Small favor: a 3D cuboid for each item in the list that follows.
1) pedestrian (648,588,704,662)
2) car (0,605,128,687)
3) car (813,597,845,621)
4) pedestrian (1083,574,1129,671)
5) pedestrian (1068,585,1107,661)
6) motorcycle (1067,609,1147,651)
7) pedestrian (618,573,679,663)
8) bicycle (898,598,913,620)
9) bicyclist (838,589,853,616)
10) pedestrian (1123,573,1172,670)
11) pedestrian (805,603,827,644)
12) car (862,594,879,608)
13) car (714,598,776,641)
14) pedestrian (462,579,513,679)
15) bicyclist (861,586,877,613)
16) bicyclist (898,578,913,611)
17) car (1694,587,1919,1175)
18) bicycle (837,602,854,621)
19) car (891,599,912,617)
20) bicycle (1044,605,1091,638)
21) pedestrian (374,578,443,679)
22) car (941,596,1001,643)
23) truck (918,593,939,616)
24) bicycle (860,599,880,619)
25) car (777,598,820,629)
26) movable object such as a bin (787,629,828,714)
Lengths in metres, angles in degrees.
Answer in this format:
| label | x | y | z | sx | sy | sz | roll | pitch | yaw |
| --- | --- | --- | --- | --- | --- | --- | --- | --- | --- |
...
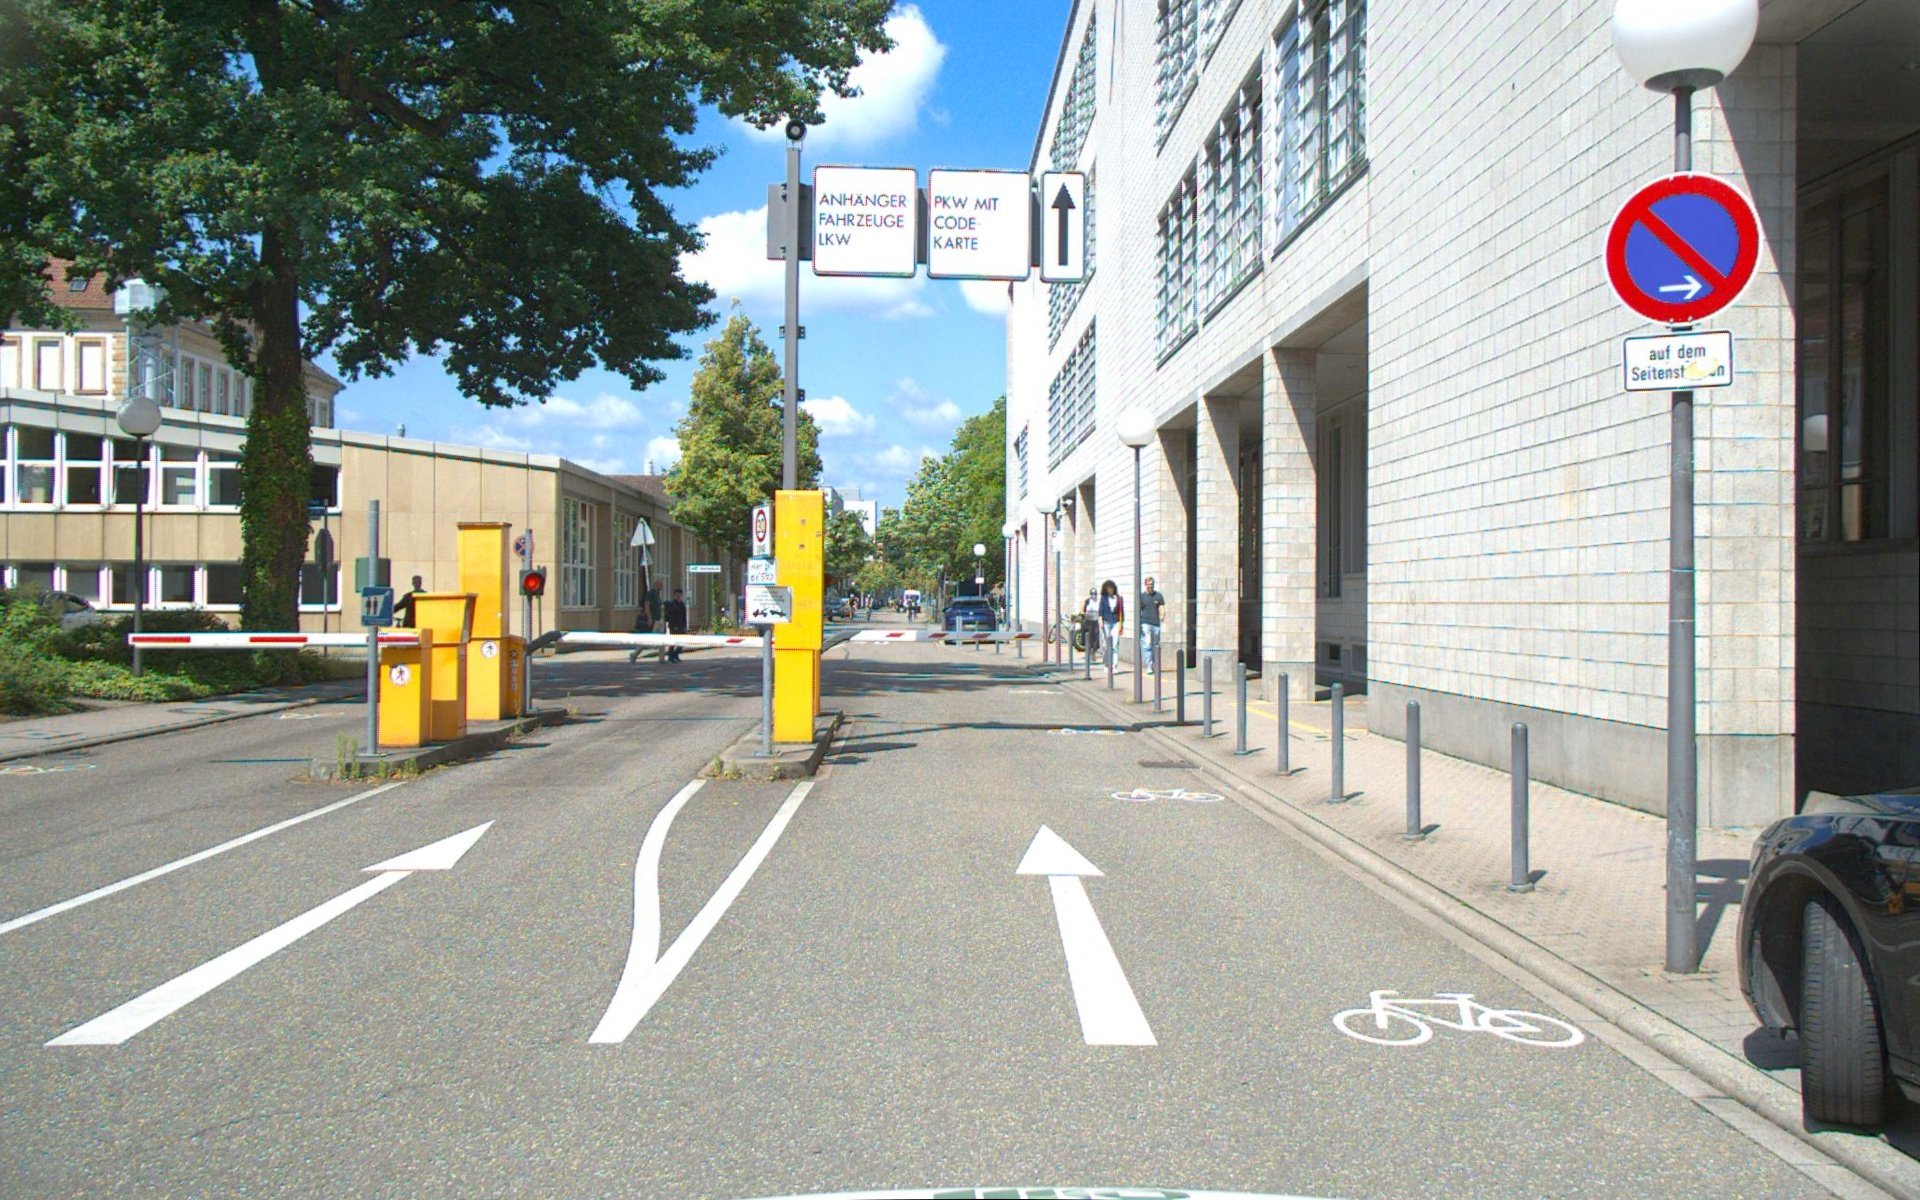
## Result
| label | x | y | z | sx | sy | sz | roll | pitch | yaw |
| --- | --- | --- | --- | --- | --- | --- | --- | --- | --- |
| pedestrian | -6.483 | 0.561 | 37.732 | 0.872 | 1.661 | 0.891 | 0 | -1 | 43 |
| car | -18.420 | 0.865 | 32.827 | 1.792 | 1.492 | 4.297 | 0 | 0 | -3 |
| car | -9.047 | 0.609 | 114.527 | 1.953 | 1.573 | 4.210 | 0 | 0 | -1 |
| pedestrian | 2.798 | 0.413 | 31.799 | 0.681 | 1.812 | 1.085 | -1 | 0 | -3 |
| pedestrian | 2.867 | 0.513 | 37.194 | 0.726 | 1.661 | 0.887 | -2 | 0 | -3 |
| motorcycle | 3.987 | 0.820 | 44.903 | 2.079 | 1.040 | 0.660 | -2 | -2 | -1 |
| pedestrian | -6.907 | 0.395 | 36.719 | 0.872 | 1.959 | 1.000 | 0 | -1 | 43 |
| bicycle | -3.644 | 0.612 | 110.764 | 0.967 | 1.339 | 2.962 | 0 | -2 | -2 |
| bicyclist | -8.191 | 0.167 | 117.999 | 0.969 | 1.917 | 1.034 | 0 | -2 | -10 |
| pedestrian | 3.597 | 0.407 | 31.795 | 0.752 | 1.812 | 0.910 | -2 | 0 | -3 |
| pedestrian | -5.876 | 0.948 | 67.468 | 0.876 | 1.661 | 0.887 | 1 | -1 | -5 |
| car | -11.882 | 0.115 | 219.249 | 1.952 | 1.751 | 4.000 | 0 | -2 | 1 |
| car | -8.330 | 0.731 | 64.316 | 1.953 | 1.573 | 4.210 | 0 | 0 | -1 |
| pedestrian | -8.849 | 0.523 | 30.995 | 0.691 | 1.841 | 1.001 | 0 | 0 | -3 |
| bicyclist | -6.506 | -0.037 | 118.249 | 0.970 | 1.917 | 1.032 | 0 | -2 | -14 |
| bicyclist | -3.642 | -0.346 | 110.849 | 0.967 | 2.169 | 1.036 | 0 | -2 | -2 |
| car | 3.383 | 0.715 | 3.184 | 1.828 | 1.490 | 4.518 | 0 | 0 | -2 |
| bicycle | -8.178 | 0.827 | 118.052 | 0.969 | 1.339 | 2.958 | 0 | -2 | -8 |
| car | -6.066 | 0.831 | 172.332 | 1.952 | 1.751 | 4.000 | 0 | -2 | 1 |
| bicycle | 3.553 | 0.708 | 54.542 | 1.511 | 1.085 | 0.648 | 0 | 0 | 6 |
| pedestrian | -10.225 | 0.525 | 30.691 | 1.035 | 1.847 | 0.806 | 0 | 0 | -3 |
| car | 0.343 | 0.636 | 57.320 | 1.953 | 1.573 | 4.210 | 0 | 0 | -1 |
| truck | -3.120 | 0.453 | 162.455 | 1.954 | 2.049 | 3.997 | 0 | -2 | -3 |
| bicycle | -6.444 | 0.622 | 118.081 | 0.970 | 1.339 | 2.954 | 0 | -2 | -13 |
| car | -8.408 | 0.671 | 86.404 | 1.953 | 1.573 | 4.210 | 0 | 0 | -1 |
| movable object such as a bin | -1.686 | 0.788 | 18.315 | 0.407 | 0.921 | 0.353 | 1 | 0 | 2 |
